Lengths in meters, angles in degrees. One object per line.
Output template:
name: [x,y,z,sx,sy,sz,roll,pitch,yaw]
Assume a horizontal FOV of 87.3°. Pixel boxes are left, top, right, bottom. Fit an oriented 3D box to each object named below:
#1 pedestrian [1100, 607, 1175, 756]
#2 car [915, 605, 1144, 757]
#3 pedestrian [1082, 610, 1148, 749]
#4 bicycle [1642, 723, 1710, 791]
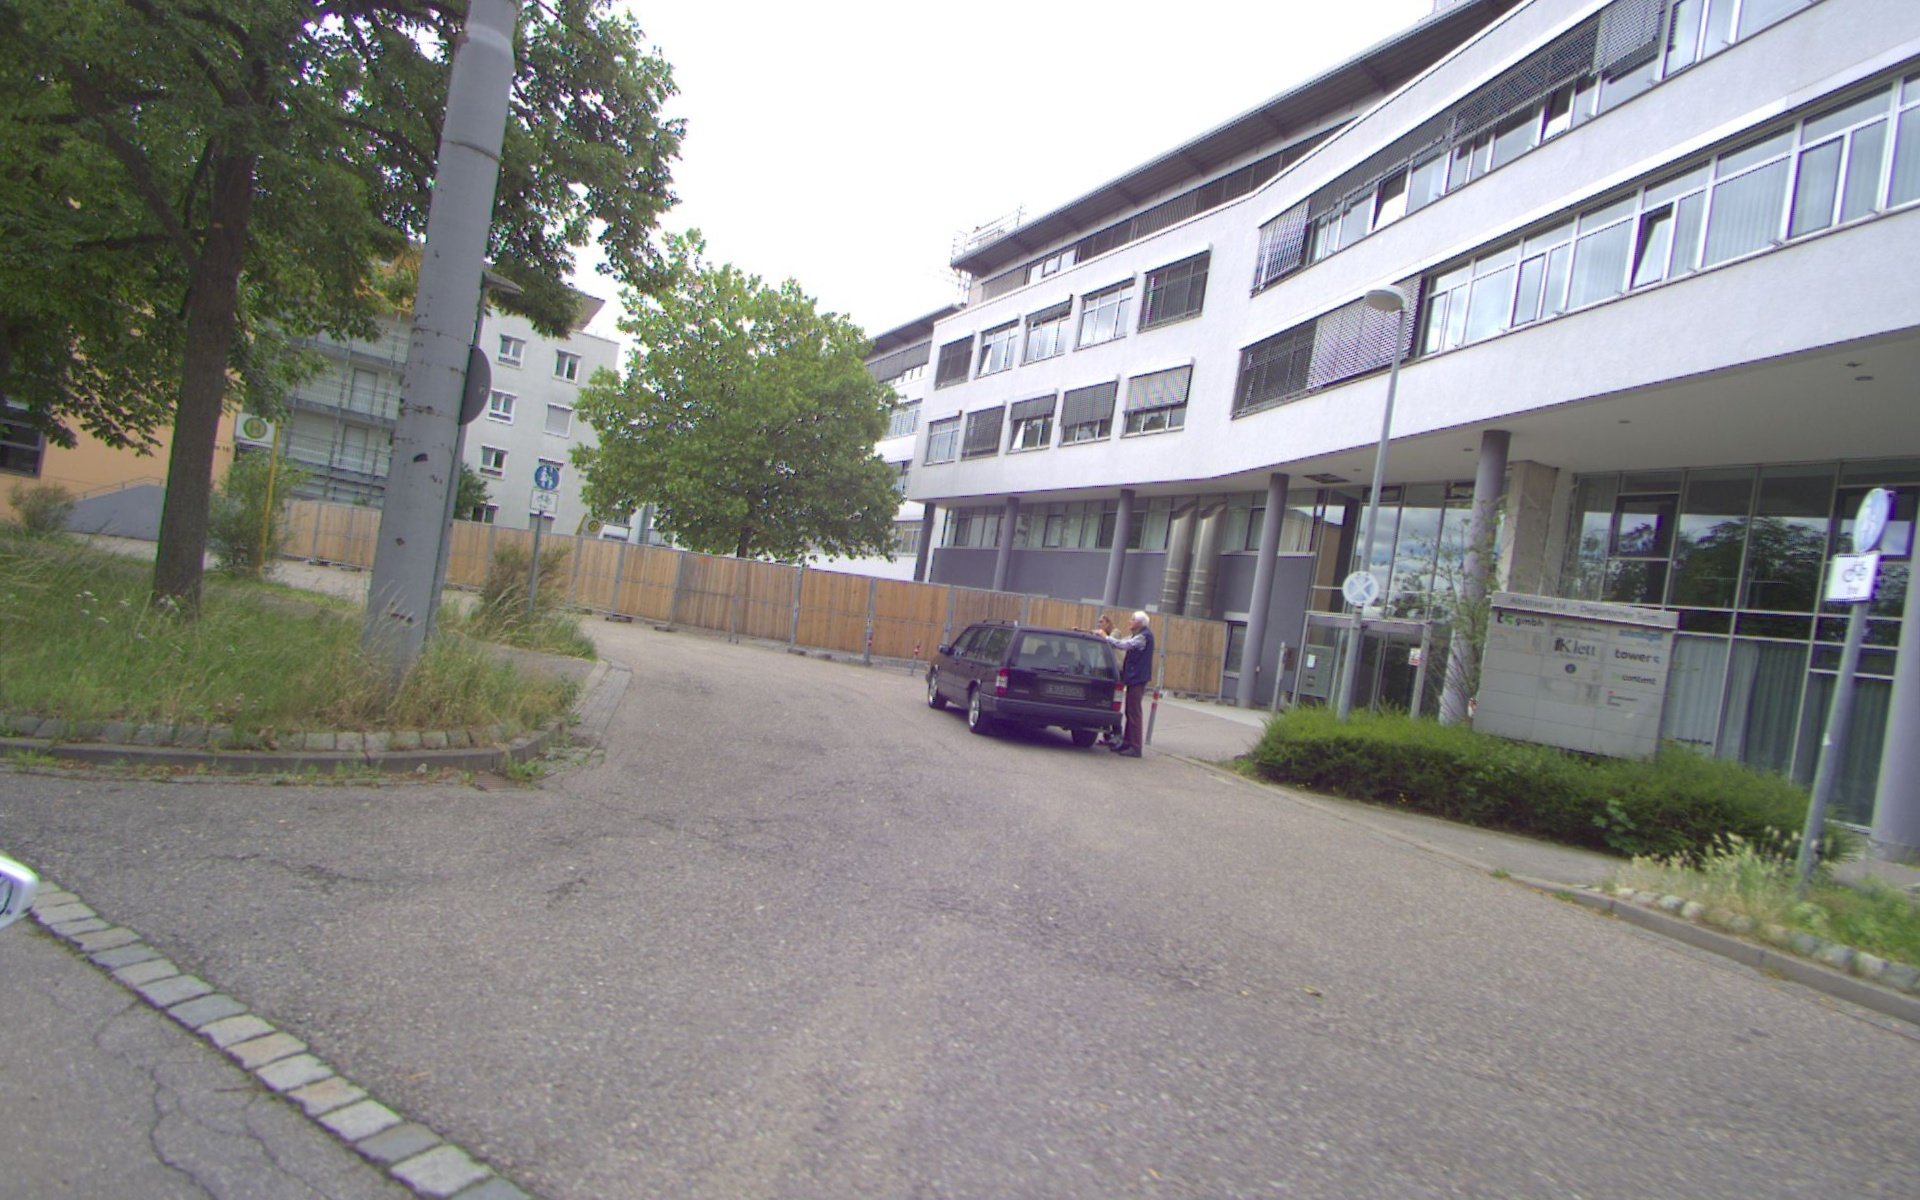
pedestrian: [2.254,1.022,12.816,0.574,1.777,0.474,10,3,1]
car: [0.743,0.995,14.330,1.841,1.535,4.731,7,-1,-12]
pedestrian: [2.069,1.051,13.485,0.527,1.747,0.498,10,3,1]
bicycle: [13.246,2.909,18.594,1.387,1.084,0.390,10,-2,-30]
